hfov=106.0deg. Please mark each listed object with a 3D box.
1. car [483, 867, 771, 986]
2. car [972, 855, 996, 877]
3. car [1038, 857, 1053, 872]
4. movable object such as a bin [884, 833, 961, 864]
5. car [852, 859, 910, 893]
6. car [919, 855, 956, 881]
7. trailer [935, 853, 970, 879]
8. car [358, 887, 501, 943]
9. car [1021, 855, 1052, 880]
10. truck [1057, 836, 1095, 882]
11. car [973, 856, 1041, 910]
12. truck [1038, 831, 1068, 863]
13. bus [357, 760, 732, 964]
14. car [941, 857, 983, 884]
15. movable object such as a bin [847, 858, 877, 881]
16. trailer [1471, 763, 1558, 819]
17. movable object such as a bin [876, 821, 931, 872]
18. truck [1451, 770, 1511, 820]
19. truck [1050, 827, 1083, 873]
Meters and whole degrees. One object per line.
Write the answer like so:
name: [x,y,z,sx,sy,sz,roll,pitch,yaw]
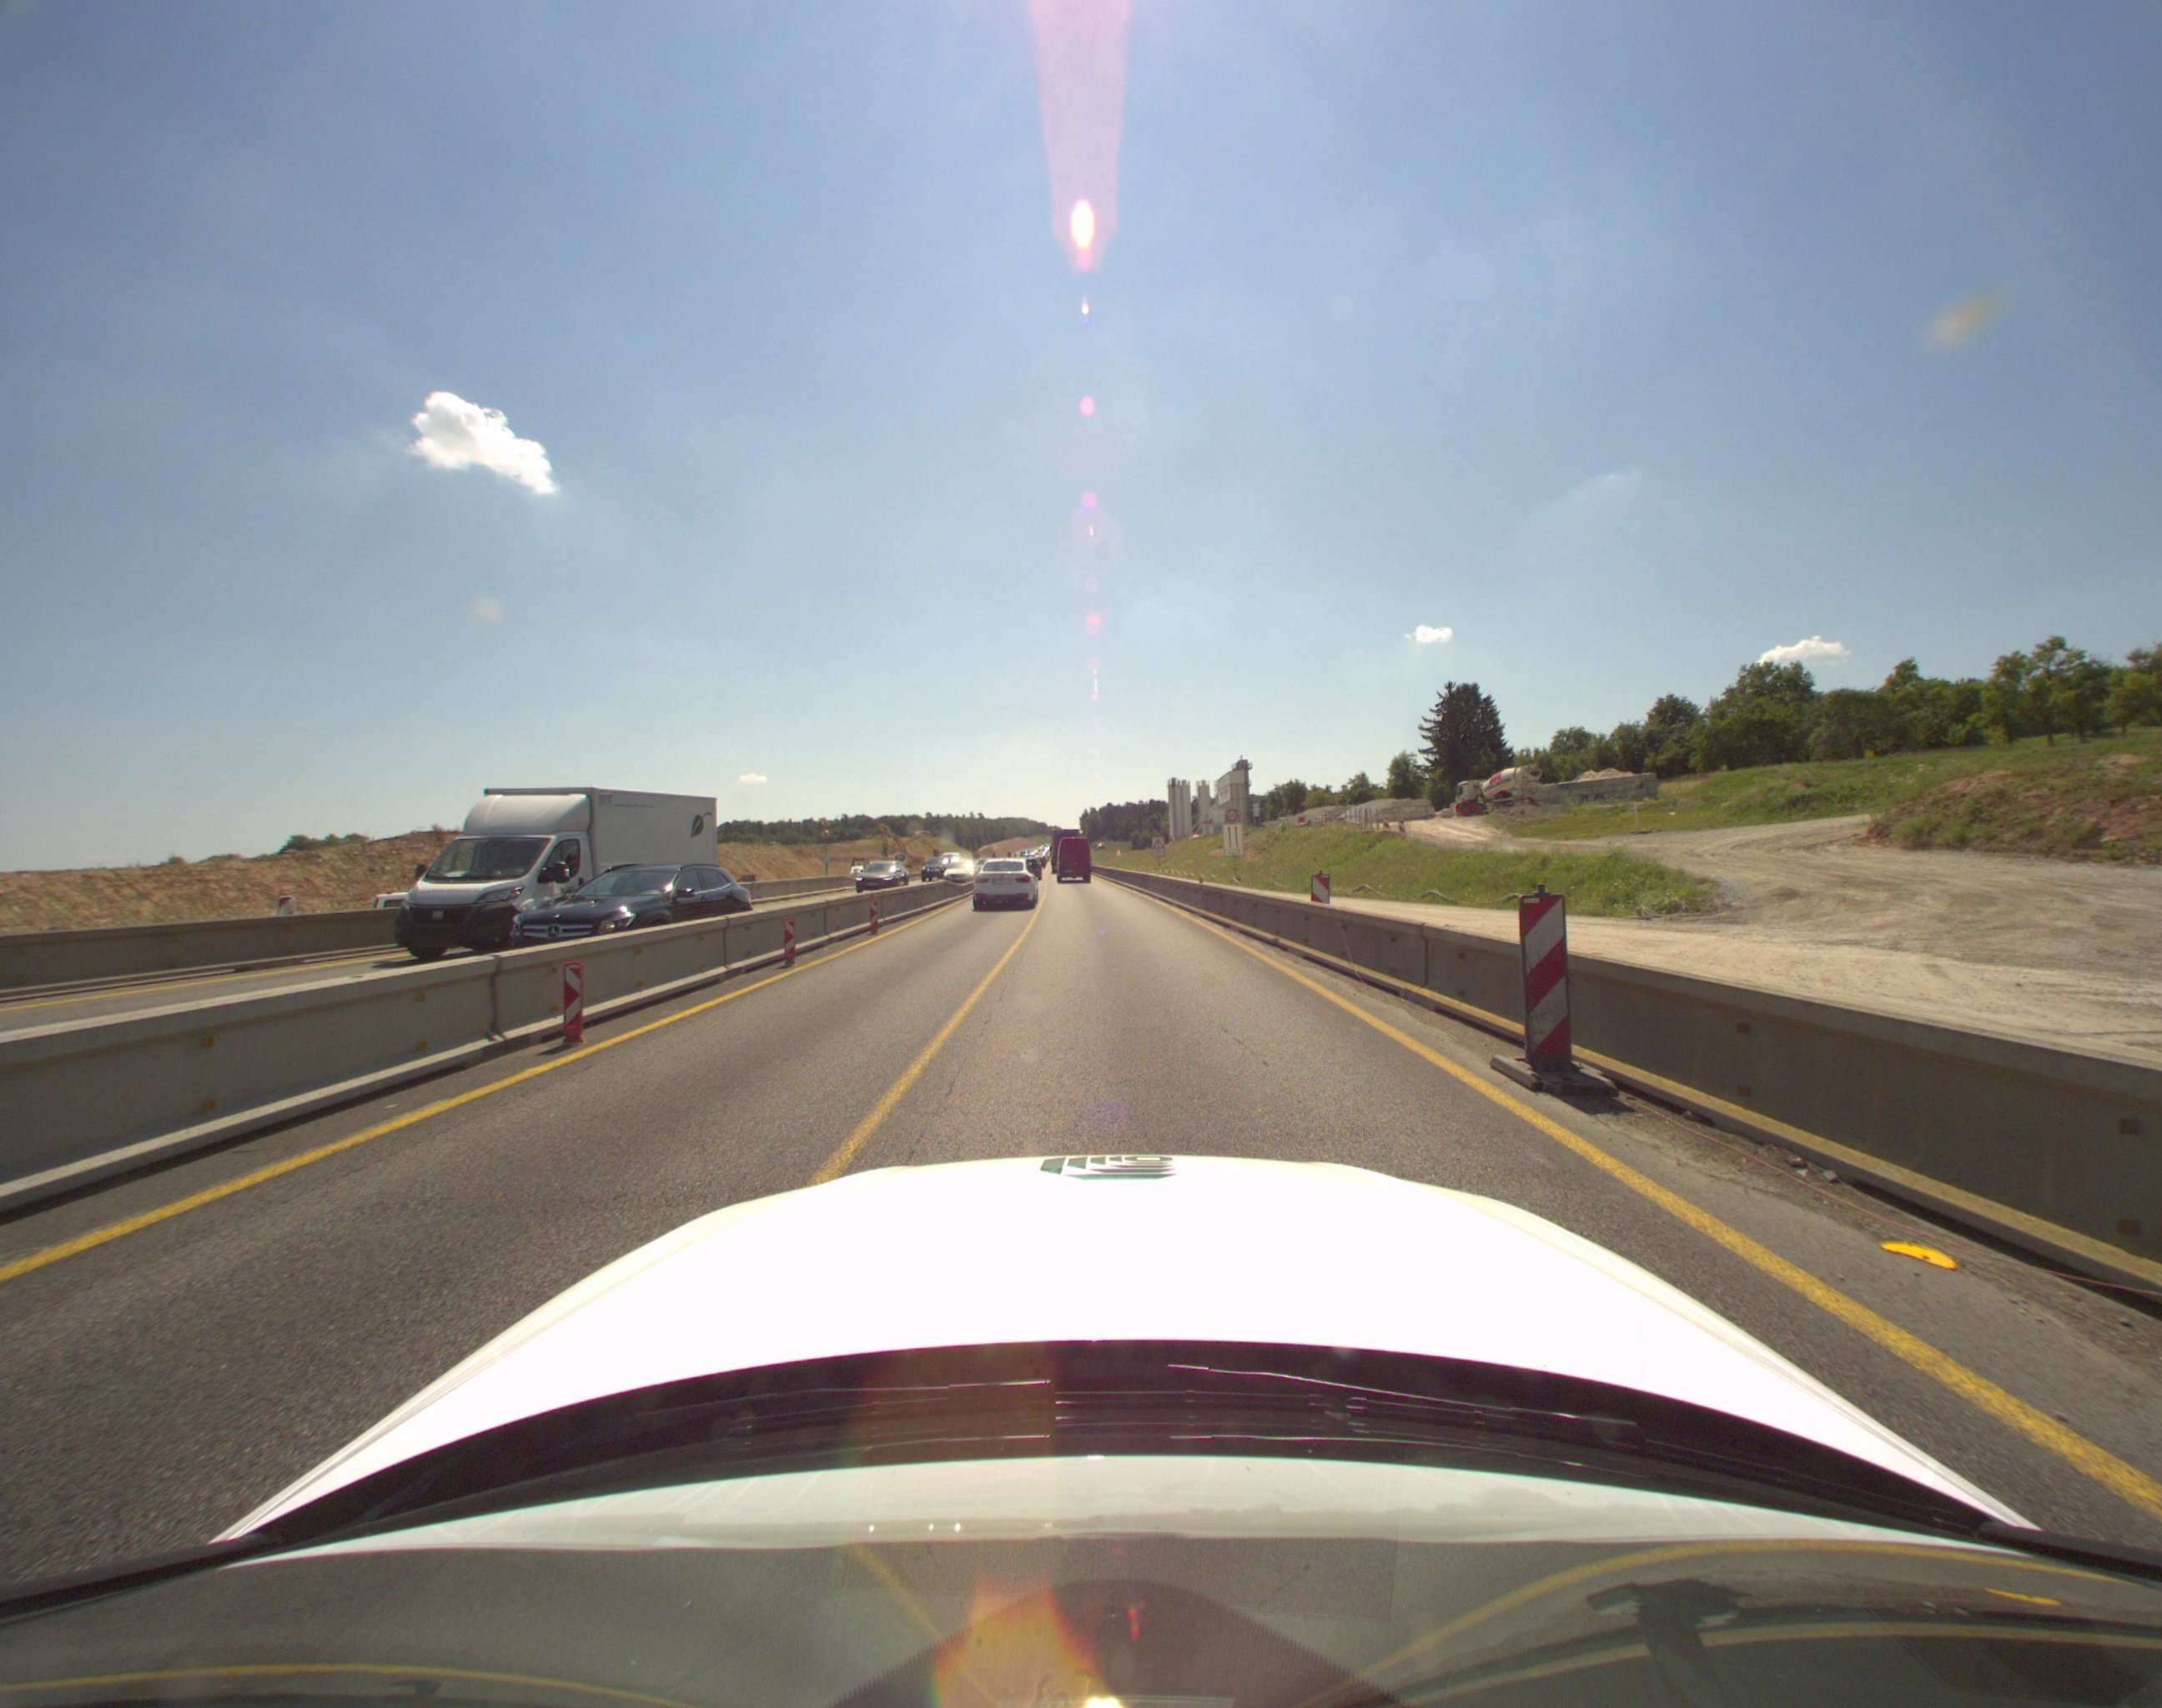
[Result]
car: [-6.642,0.964,12.594,1.801,1.414,4.401,-1,0,2]
car: [-7.505,0.885,63.287,1.692,1.579,4.125,-2,0,-6]
car: [-4.957,1.393,113.821,1.988,2.013,3.997,-2,0,-2]
movable object such as a bin: [-40.079,-1.486,207.160,18.677,7.231,3.610,-2,0,-5]
car: [-9.419,0.998,38.773,1.817,1.423,4.641,-2,0,-3]
car: [-10.100,0.964,57.673,1.918,1.679,4.714,-1,0,-2]
trailer: [-10.549,0.961,67.126,2.125,1.982,5.231,-1,0,-2]
car: [-20.309,1.868,25.545,3.209,1.455,1.534,-2,0,-27]
car: [-3.007,0.889,55.517,1.788,1.534,3.932,-2,0,1]
truck: [-0.391,0.310,50.512,2.106,2.633,6.478,-2,0,-2]
car: [-2.234,0.837,25.719,1.790,1.534,5.069,-1,0,-2]
truck: [-4.310,-1.094,127.286,3.668,4.691,9.759,-2,0,3]
bus: [-9.939,0.128,16.334,2.339,3.125,7.234,-2,0,3]
car: [-6.887,0.917,47.452,1.811,1.455,4.631,-2,0,-2]
movable object such as a bin: [-24.553,1.704,91.713,1.697,2.461,6.739,-2,0,-2]
trailer: [36.146,-5.185,68.263,2.757,4.114,6.720,-2,0,-11]
movable object such as a bin: [-27.933,-1.171,128.504,7.615,7.713,3.444,-2,0,-1]
truck: [35.400,-5.156,72.231,2.746,4.095,4.085,-2,0,-11]
truck: [-1.441,-0.350,79.885,3.007,4.153,8.267,-2,0,-1]
